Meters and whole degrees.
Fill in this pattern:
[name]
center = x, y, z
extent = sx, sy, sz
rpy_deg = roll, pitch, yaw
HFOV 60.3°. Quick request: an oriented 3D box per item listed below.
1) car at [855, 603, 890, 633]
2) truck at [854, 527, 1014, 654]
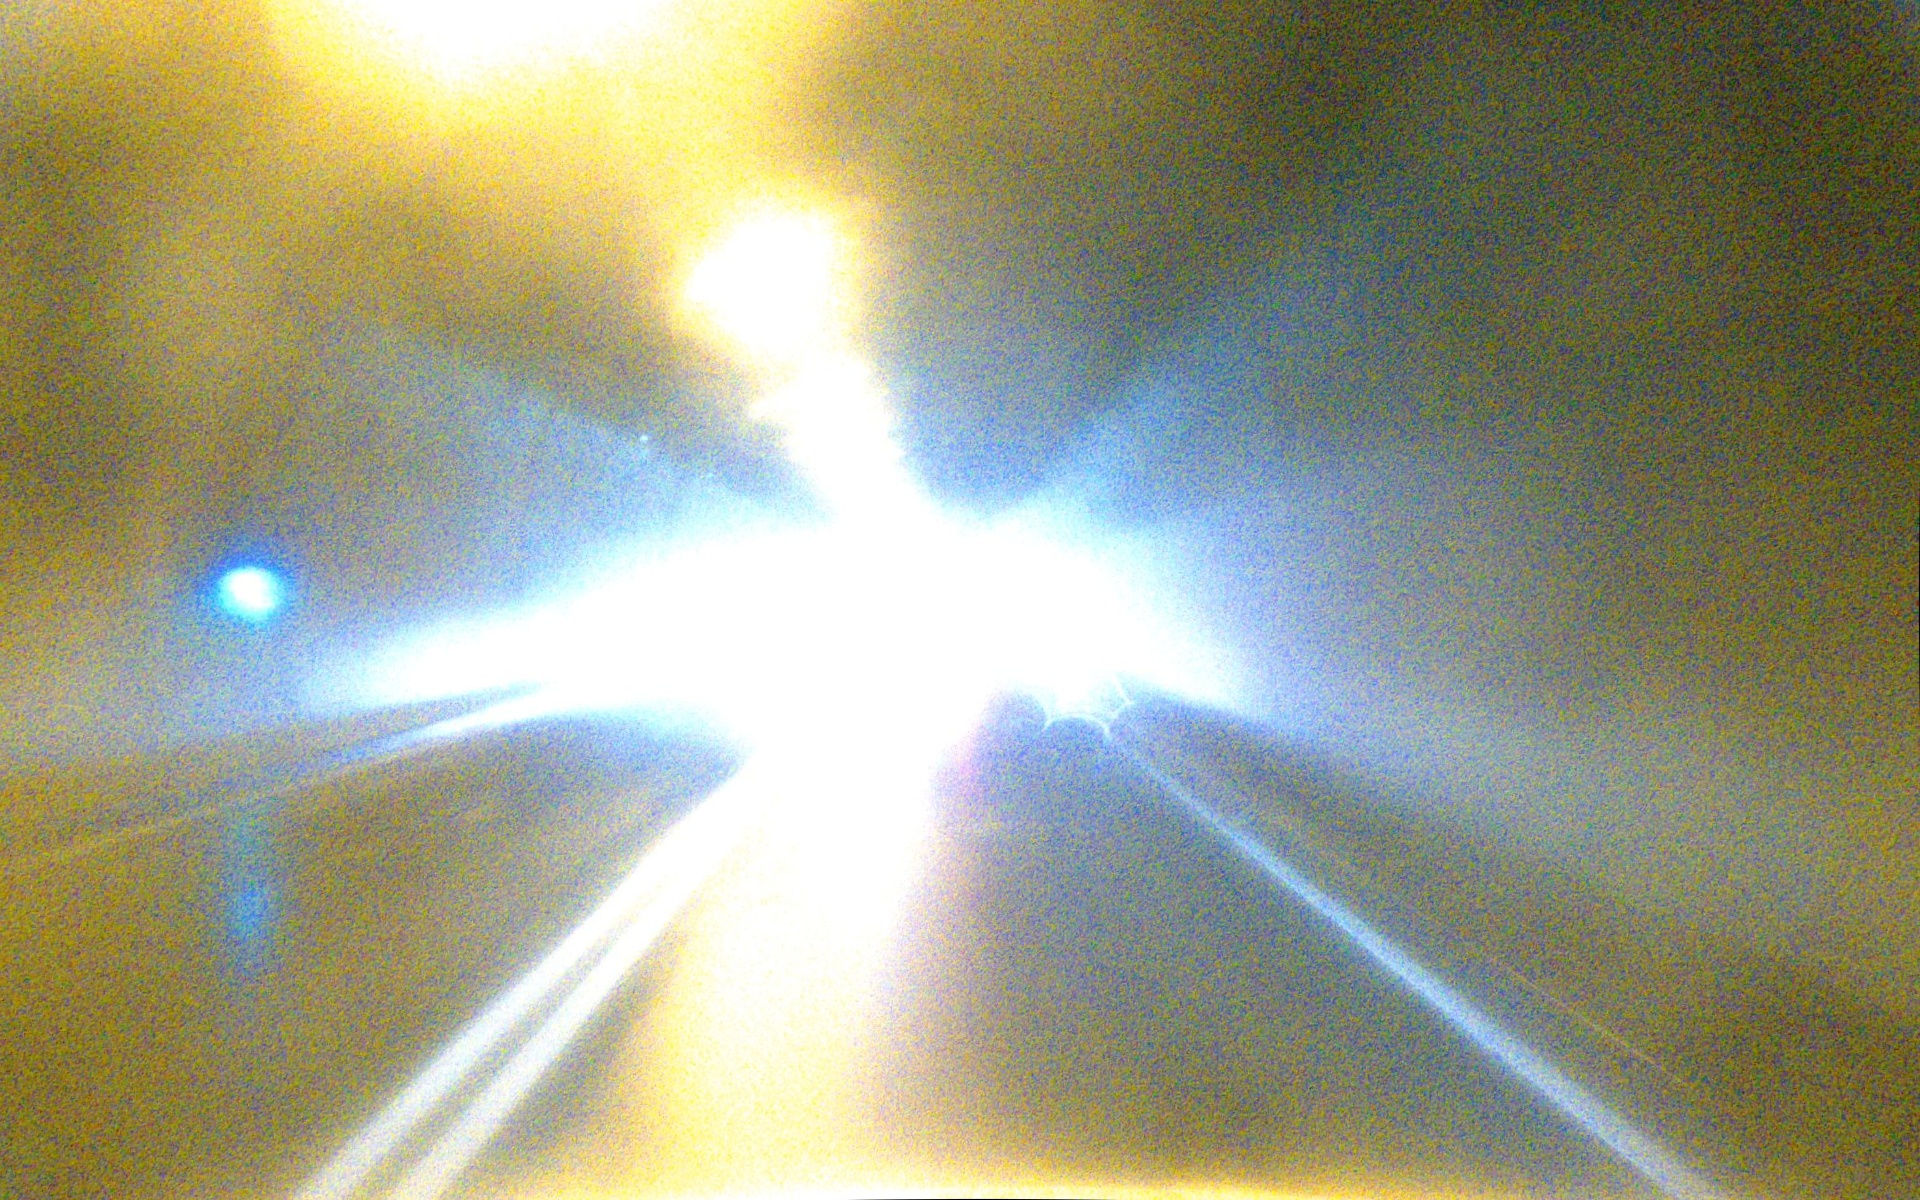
[car]
center = -4.751, 0.970, 90.370
extent = 1.713, 1.612, 3.999
rpy_deg = 1, 0, -1
[truck]
center = -0.623, -0.210, 40.646
extent = 3.463, 2.740, 8.954
rpy_deg = 0, 0, -1
